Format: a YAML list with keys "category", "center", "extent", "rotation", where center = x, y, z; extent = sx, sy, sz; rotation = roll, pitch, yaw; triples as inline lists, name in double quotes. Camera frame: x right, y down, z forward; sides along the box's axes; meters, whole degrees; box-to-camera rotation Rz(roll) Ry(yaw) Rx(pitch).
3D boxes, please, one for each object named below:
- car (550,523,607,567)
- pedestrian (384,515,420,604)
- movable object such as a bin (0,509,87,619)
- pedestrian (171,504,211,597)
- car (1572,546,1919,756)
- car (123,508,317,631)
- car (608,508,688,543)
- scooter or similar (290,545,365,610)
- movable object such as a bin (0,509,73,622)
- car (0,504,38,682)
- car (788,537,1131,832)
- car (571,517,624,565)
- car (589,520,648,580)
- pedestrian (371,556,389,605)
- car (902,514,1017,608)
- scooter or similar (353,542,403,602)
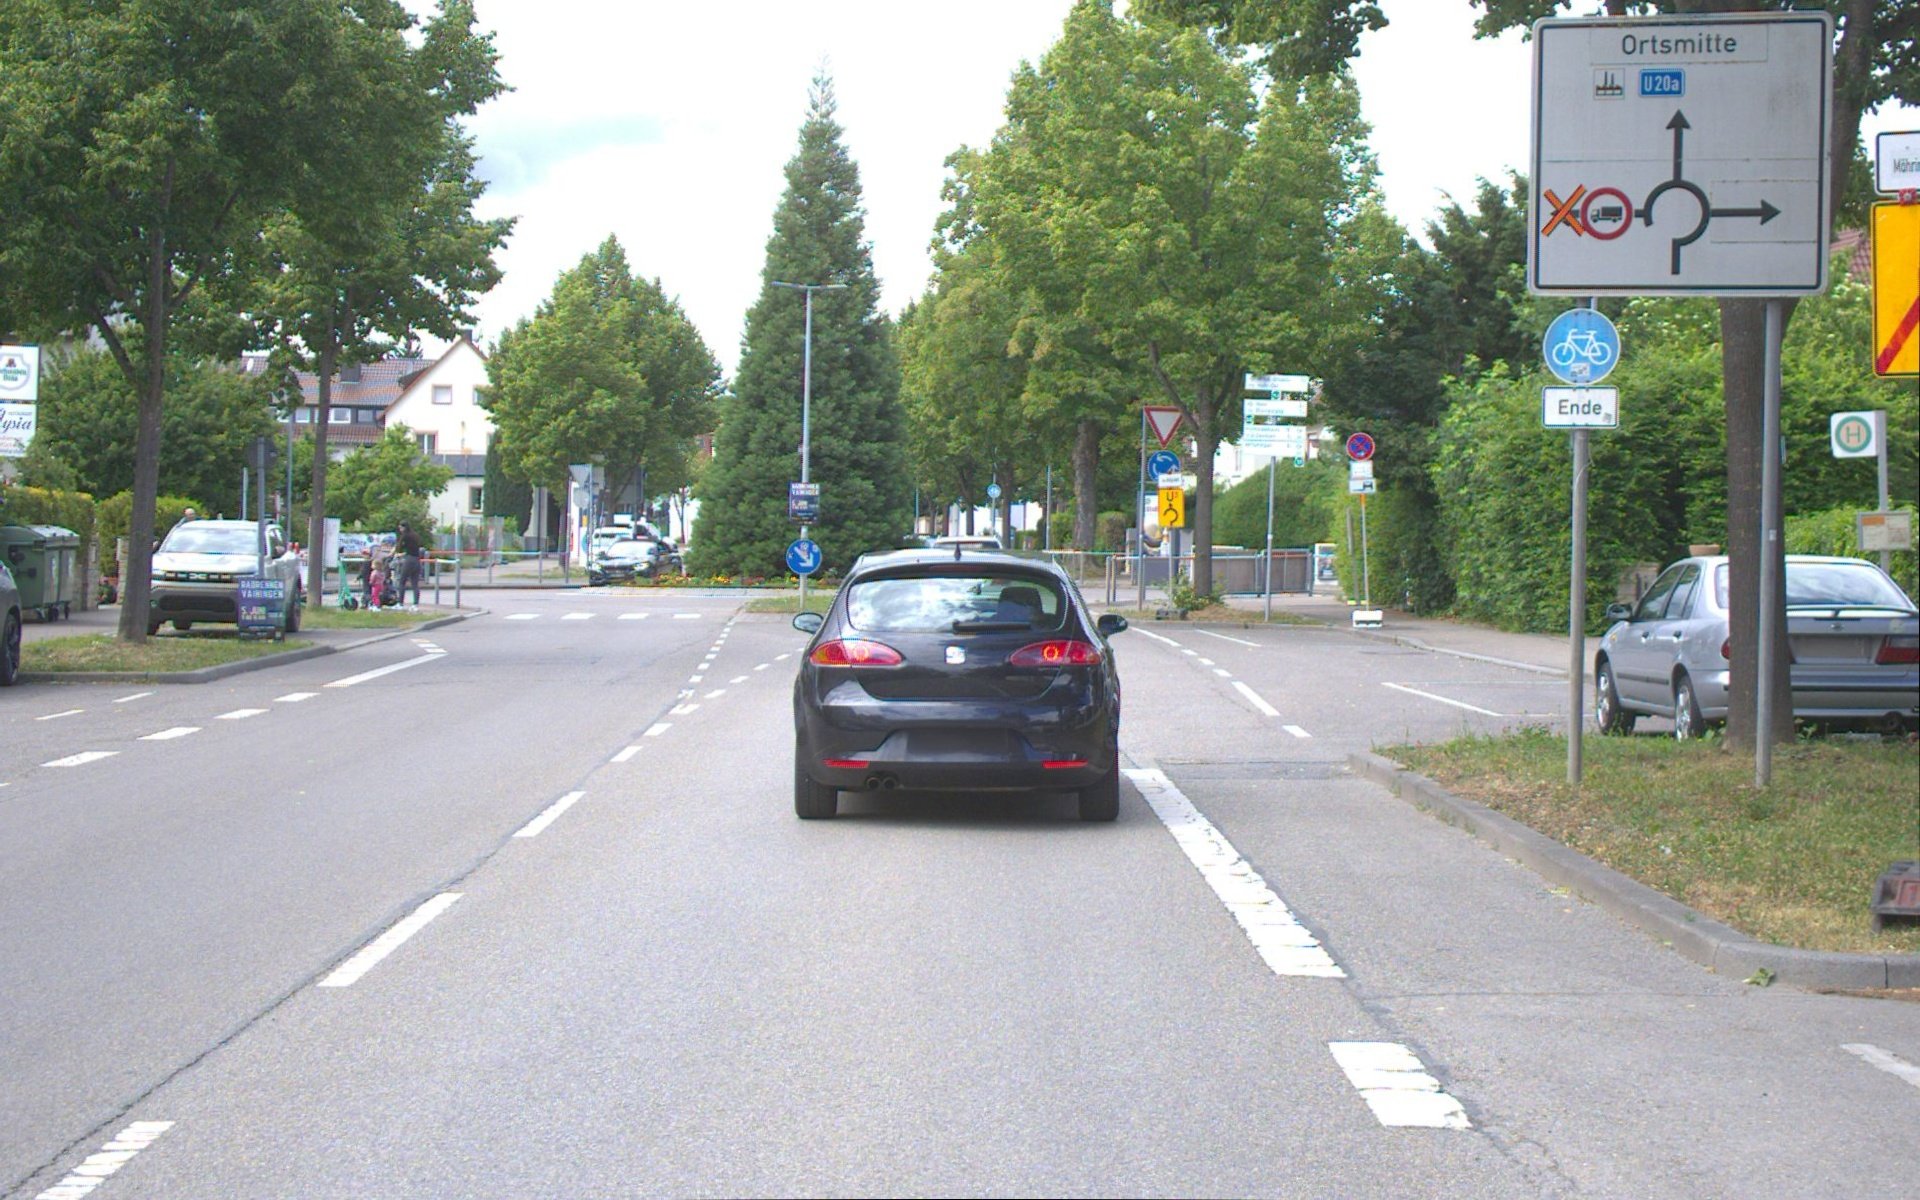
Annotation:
- category: "car"
  center: [-14.010, -2.023, 126.417]
  extent: [1.797, 1.596, 4.001]
  rotation: [0, 1, -2]
- category: "pedestrian"
  center: [-10.464, -0.763, 64.422]
  extent: [0.481, 1.664, 0.516]
  rotation: [0, 1, -34]
- category: "movable object such as a bin"
  center: [-14.254, -0.561, 53.185]
  extent: [1.205, 1.645, 0.998]
  rotation: [3, 1, -3]
- category: "pedestrian"
  center: [-14.843, -0.958, 66.355]
  extent: [0.561, 1.778, 0.540]
  rotation: [0, 1, -40]
- category: "car"
  center: [5.631, 0.342, 24.816]
  extent: [1.612, 1.372, 4.387]
  rotation: [0, 0, 0]
- category: "car"
  center: [-10.474, -0.454, 48.953]
  extent: [1.860, 1.648, 4.294]
  rotation: [1, 1, -1]
- category: "car"
  center: [-17.383, -4.154, 191.570]
  extent: [3.990, 1.964, 2.035]
  rotation: [0, 1, 18]
- category: "scooter or similar"
  center: [-11.292, -0.405, 61.383]
  extent: [1.284, 1.135, 0.347]
  rotation: [0, 1, -32]
- category: "movable object such as a bin"
  center: [-14.038, -0.529, 51.508]
  extent: [1.205, 1.645, 0.998]
  rotation: [3, 1, -3]
- category: "car"
  center: [-10.112, -0.068, 32.529]
  extent: [1.724, 1.719, 4.565]
  rotation: [1, 1, -3]
- category: "car"
  center: [0.060, 0.390, 19.395]
  extent: [1.732, 1.481, 4.000]
  rotation: [0, 1, 2]
- category: "car"
  center: [-15.207, -2.483, 144.467]
  extent: [2.029, 1.964, 4.001]
  rotation: [0, 1, -3]
- category: "car"
  center: [-9.414, -1.390, 94.932]
  extent: [1.568, 1.628, 3.623]
  rotation: [0, 1, -5]
- category: "pedestrian"
  center: [-10.681, -0.356, 63.311]
  extent: [0.238, 0.891, 0.260]
  rotation: [1, 1, -28]
- category: "car"
  center: [-0.016, -0.726, 62.592]
  extent: [1.993, 1.607, 4.000]
  rotation: [1, 1, 0]
- category: "scooter or similar"
  center: [-11.006, -0.537, 64.995]
  extent: [0.406, 1.092, 0.969]
  rotation: [2, 1, -43]
